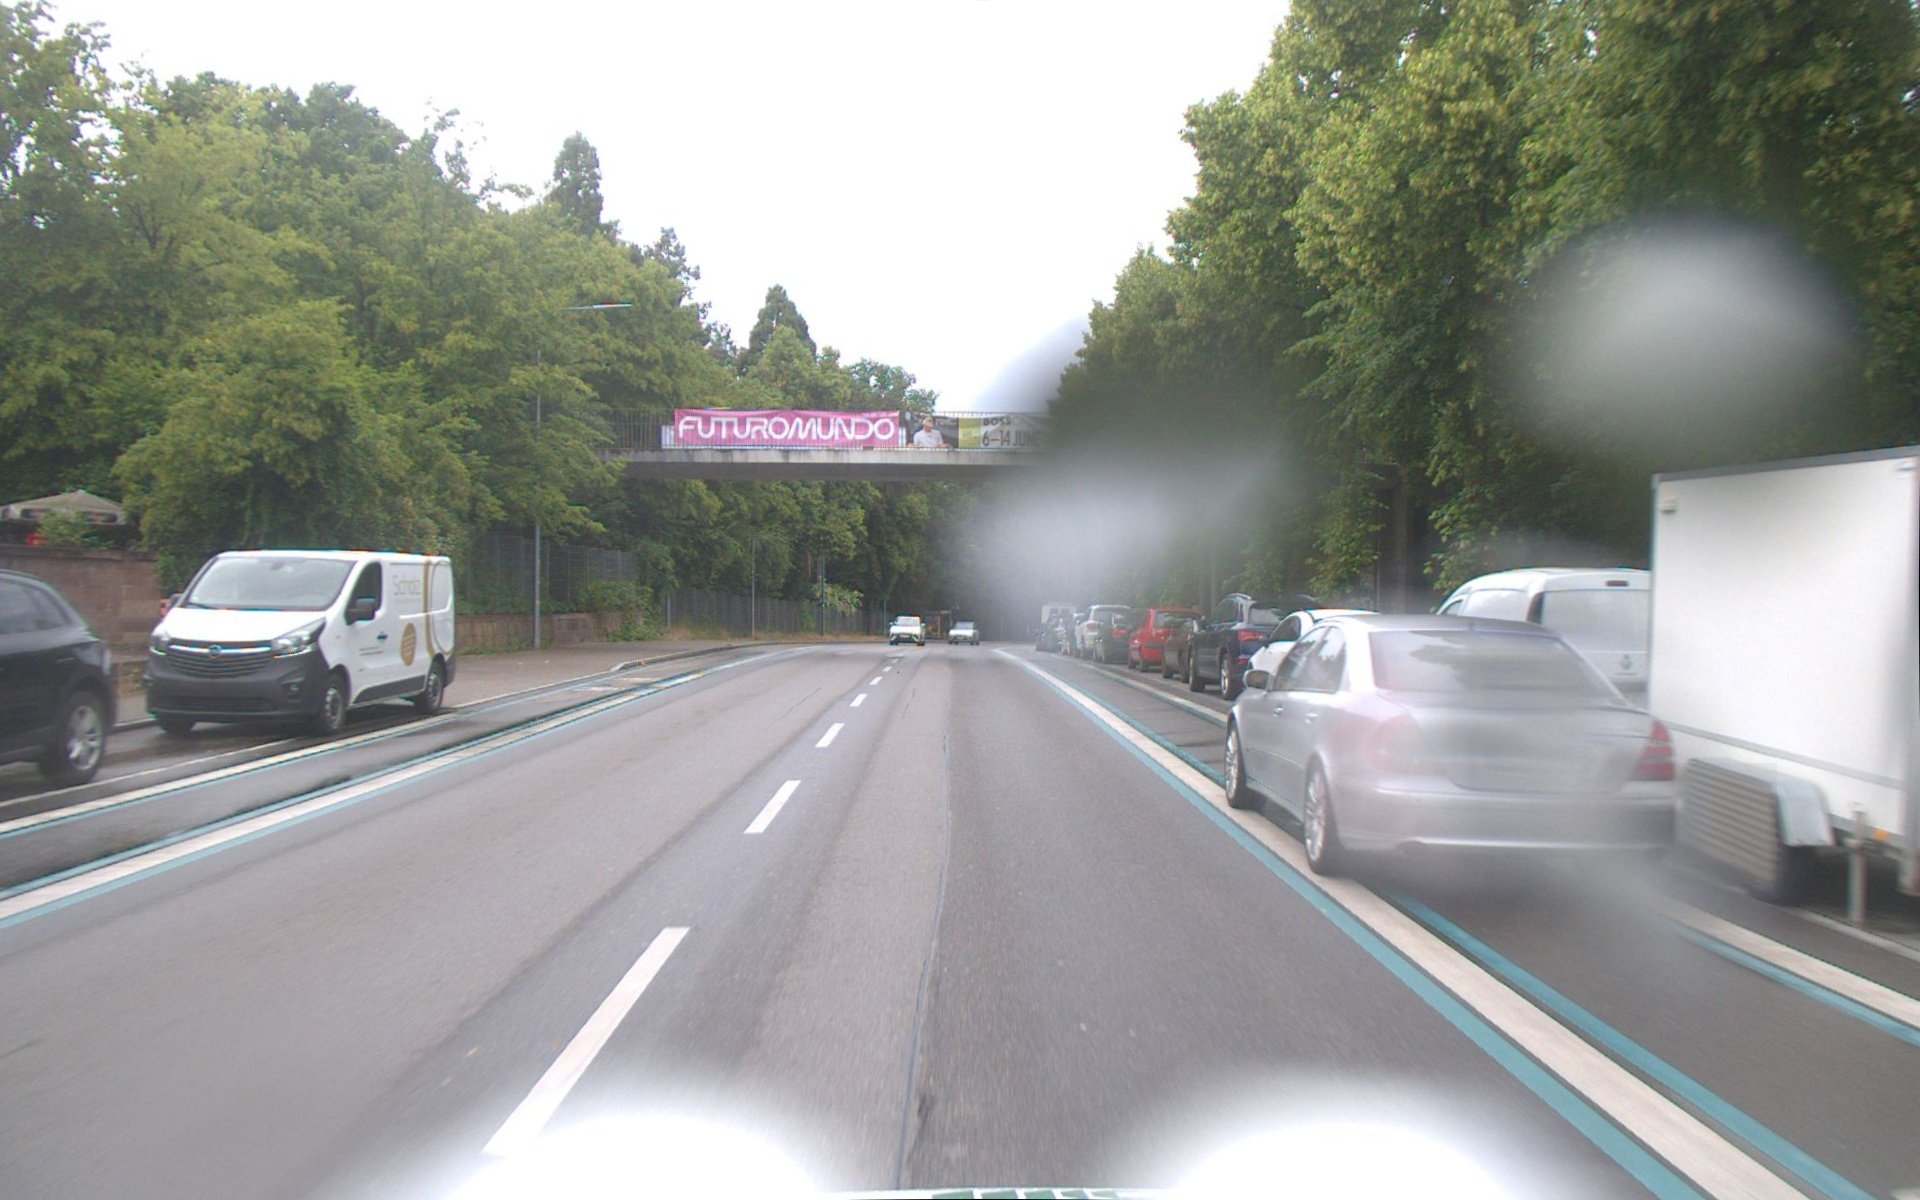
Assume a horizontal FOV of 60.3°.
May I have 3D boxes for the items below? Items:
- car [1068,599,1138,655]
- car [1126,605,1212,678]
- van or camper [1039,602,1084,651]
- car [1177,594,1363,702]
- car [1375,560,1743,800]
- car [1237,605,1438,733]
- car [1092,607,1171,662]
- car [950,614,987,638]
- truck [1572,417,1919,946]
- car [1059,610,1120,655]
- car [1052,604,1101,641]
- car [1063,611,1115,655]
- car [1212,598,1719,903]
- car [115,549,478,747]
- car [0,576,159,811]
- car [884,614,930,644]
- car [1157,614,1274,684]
[{"bbox_3d":[4.425,0.866,51.644,1.679,1.647,4.259,1,-1,-2],"label":"car"},{"bbox_3d":[4.902,0.941,39.198,1.527,1.492,3.626,1,2,0],"label":"car"},{"bbox_3d":[6.105,1.602,98.498,2.268,2.711,6.386,2,-1,7],"label":"van or camper"},{"bbox_3d":[5.024,0.718,27.473,1.954,1.587,4.639,1,0,-3],"label":"car"},{"bbox_3d":[5.190,0.605,14.995,1.687,1.822,4.345,1,0,-1],"label":"car"},{"bbox_3d":[4.899,0.831,22.091,1.626,1.451,4.618,1,0,0],"label":"car"},{"bbox_3d":[4.704,0.979,45.862,1.639,1.418,4.449,1,-2,-1],"label":"car"},{"bbox_3d":[0.627,1.830,116.613,1.758,1.604,4.105,1,-2,13],"label":"car"},{"bbox_3d":[5.115,0.369,9.438,1.684,2.374,3.999,1,0,-1],"label":"truck"},{"bbox_3d":[4.454,1.143,57.293,1.683,1.400,4.557,1,-3,-1],"label":"car"},{"bbox_3d":[4.717,0.940,67.331,1.738,1.372,4.466,2,-2,1],"label":"car"},{"bbox_3d":[4.841,1.266,62.542,1.627,1.562,3.740,2,-2,0],"label":"car"},{"bbox_3d":[2.823,0.735,10.370,1.686,1.422,4.590,1,1,-1],"label":"car"},{"bbox_3d":[-7.399,0.443,19.158,1.937,1.948,5.228,1,1,2],"label":"car"},{"bbox_3d":[-7.603,0.656,11.582,1.787,1.644,4.662,0,1,-1],"label":"car"},{"bbox_3d":[-2.833,1.558,89.545,1.930,1.579,3.872,1,-1,7],"label":"car"},{"bbox_3d":[5.087,0.944,33.361,1.593,1.210,4.182,1,0,-1],"label":"car"}]
